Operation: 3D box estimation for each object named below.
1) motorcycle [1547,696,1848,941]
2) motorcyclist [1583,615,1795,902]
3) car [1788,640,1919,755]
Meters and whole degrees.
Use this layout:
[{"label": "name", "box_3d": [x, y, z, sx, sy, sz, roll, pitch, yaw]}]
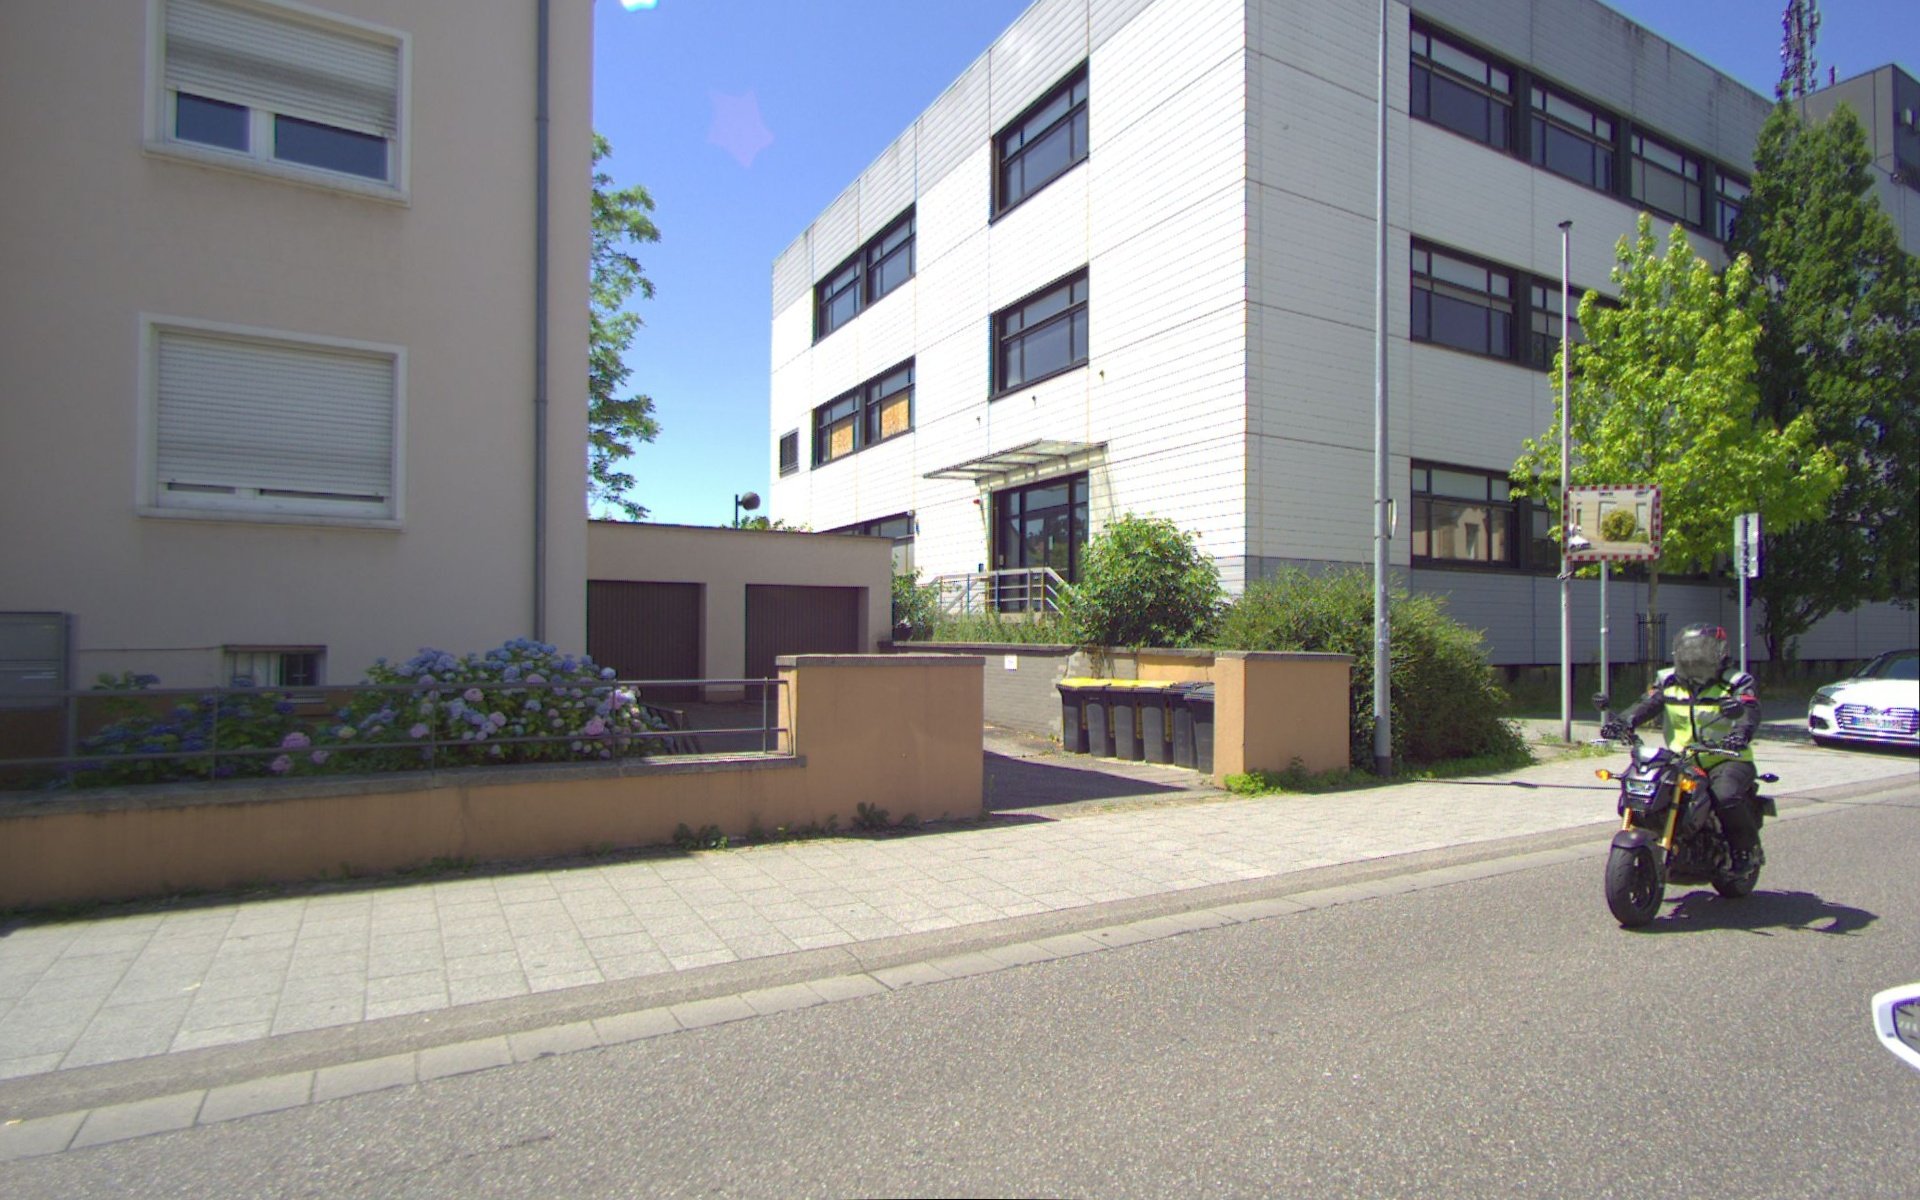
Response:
[{"label": "motorcycle", "box_3d": [4.170, 1.135, 5.654, 1.769, 1.122, 0.695, 2, -3, -30]}, {"label": "motorcyclist", "box_3d": [4.036, 0.827, 5.582, 0.699, 1.452, 0.696, 1, -3, -30]}, {"label": "car", "box_3d": [14.044, 1.333, 14.477, 4.523, 1.430, 1.813, 2, 0, -30]}]
